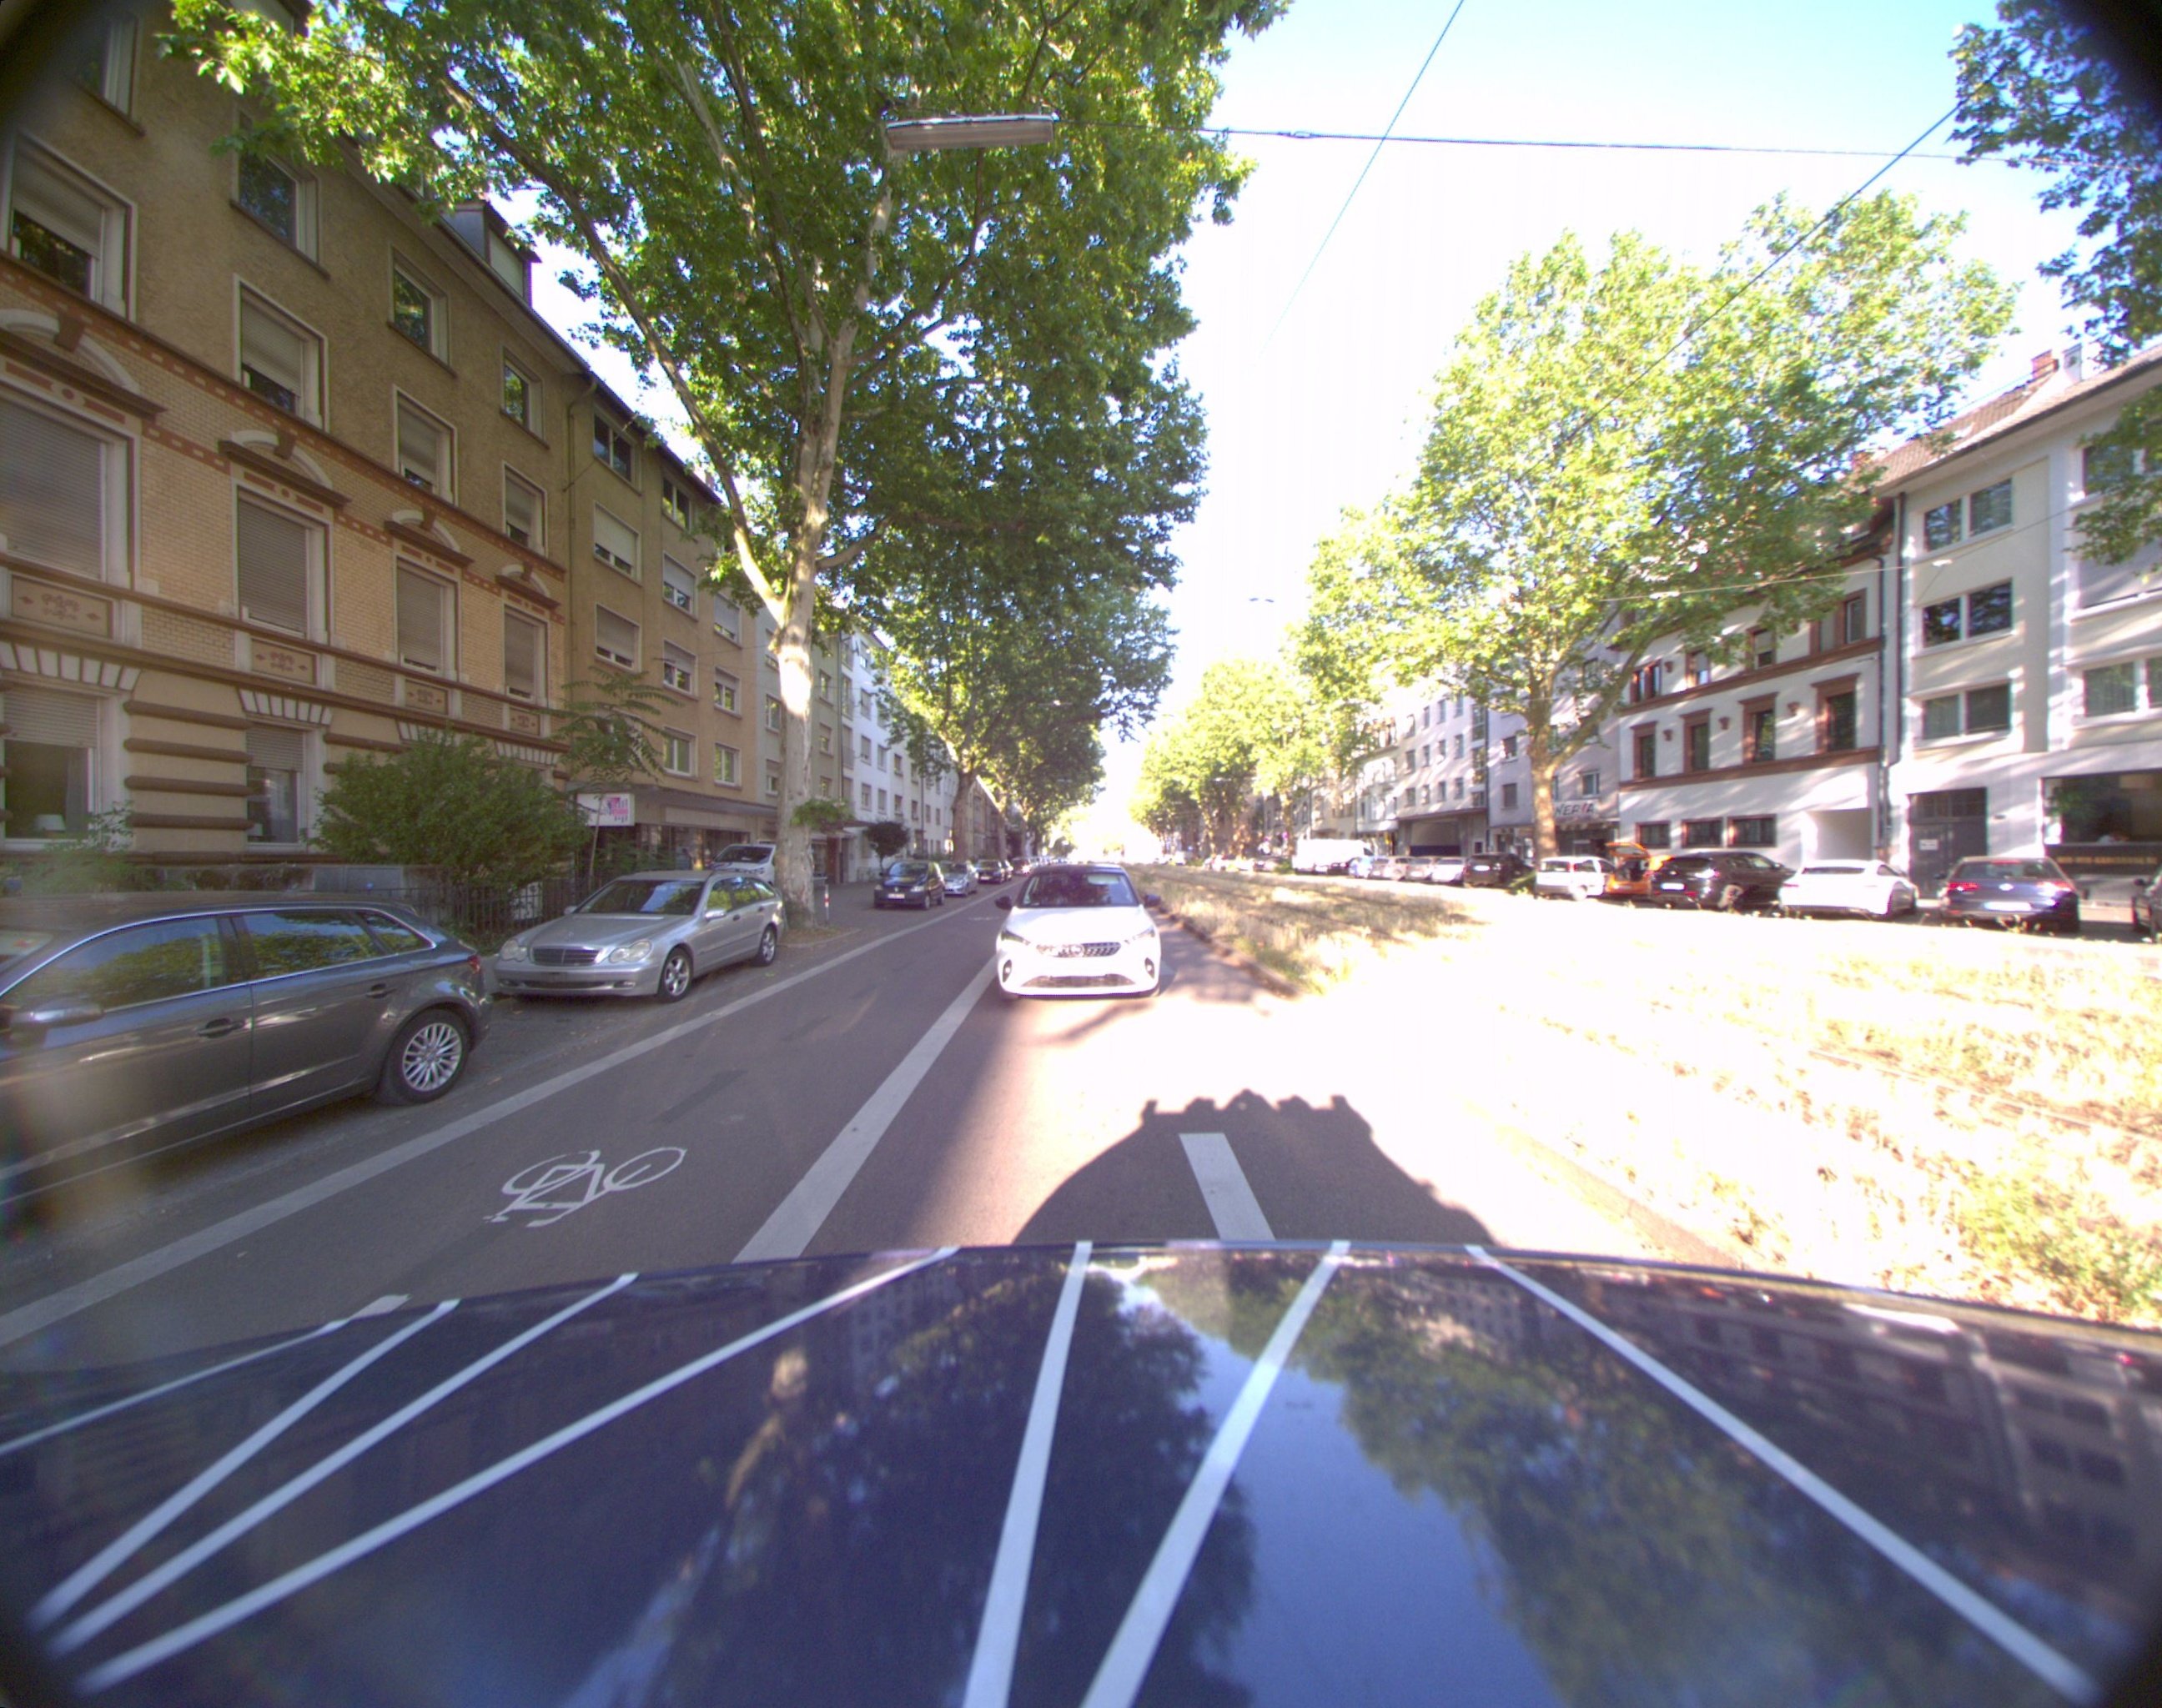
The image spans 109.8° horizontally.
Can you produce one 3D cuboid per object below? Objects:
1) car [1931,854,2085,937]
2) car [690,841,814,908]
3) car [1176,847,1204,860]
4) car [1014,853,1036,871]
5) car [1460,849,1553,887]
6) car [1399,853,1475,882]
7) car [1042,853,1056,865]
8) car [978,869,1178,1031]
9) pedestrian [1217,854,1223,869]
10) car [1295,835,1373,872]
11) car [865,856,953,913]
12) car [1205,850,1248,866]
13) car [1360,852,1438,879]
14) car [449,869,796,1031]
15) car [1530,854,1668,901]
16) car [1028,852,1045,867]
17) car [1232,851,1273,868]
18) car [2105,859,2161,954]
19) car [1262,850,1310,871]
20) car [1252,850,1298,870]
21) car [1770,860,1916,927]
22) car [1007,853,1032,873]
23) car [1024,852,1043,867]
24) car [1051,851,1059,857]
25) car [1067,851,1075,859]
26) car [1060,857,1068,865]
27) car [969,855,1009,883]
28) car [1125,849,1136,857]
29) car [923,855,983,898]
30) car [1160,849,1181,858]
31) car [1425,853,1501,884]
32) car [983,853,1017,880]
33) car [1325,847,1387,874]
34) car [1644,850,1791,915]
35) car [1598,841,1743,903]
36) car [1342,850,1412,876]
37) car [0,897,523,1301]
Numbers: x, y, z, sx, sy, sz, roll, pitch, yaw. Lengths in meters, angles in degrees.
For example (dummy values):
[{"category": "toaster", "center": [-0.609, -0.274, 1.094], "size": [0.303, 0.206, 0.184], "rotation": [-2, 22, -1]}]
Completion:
[{"category": "car", "center": [19.310, 0.771, 15.996], "size": [3.979, 1.495, 1.827], "rotation": [-1, 1, -42]}, {"category": "car", "center": [-10.372, 0.587, 24.381], "size": [1.933, 1.864, 4.677], "rotation": [2, 0, -1]}, {"category": "car", "center": [18.648, -0.039, 129.947], "size": [4.952, 2.200, 2.096], "rotation": [-1, 1, -42]}, {"category": "car", "center": [-5.385, 0.768, 73.336], "size": [1.803, 1.599, 4.104], "rotation": [2, 0, -1]}, {"category": "car", "center": [19.072, 0.573, 34.036], "size": [4.265, 1.605, 1.902], "rotation": [-1, 1, -33]}, {"category": "car", "center": [19.210, 0.705, 40.962], "size": [4.265, 1.449, 1.902], "rotation": [-1, 1, -36]}, {"category": "car", "center": [-4.576, 0.694, 110.098], "size": [1.803, 1.598, 3.702], "rotation": [2, 0, -1]}, {"category": "car", "center": [-0.044, 0.956, 9.206], "size": [1.865, 1.394, 3.931], "rotation": [-2, 0, 0]}, {"category": "pedestrian", "center": [15.095, 0.798, 82.469], "size": [0.620, 1.588, 0.422], "rotation": [0, 1, 1]}, {"category": "car", "center": [19.192, -0.036, 57.588], "size": [5.619, 2.684, 2.176], "rotation": [-1, 1, -24]}, {"category": "car", "center": [-5.405, 0.894, 24.441], "size": [1.803, 1.599, 4.369], "rotation": [2, 0, -1]}, {"category": "car", "center": [15.969, 0.429, 83.584], "size": [4.234, 1.696, 1.999], "rotation": [0, 0, -4]}, {"category": "car", "center": [18.881, 0.660, 45.157], "size": [4.004, 1.509, 1.996], "rotation": [-1, 0, -20]}, {"category": "car", "center": [-5.382, 1.004, 9.787], "size": [1.803, 1.446, 4.511], "rotation": [2, 0, -1]}, {"category": "car", "center": [18.142, 0.782, 26.646], "size": [4.260, 1.548, 1.641], "rotation": [0, 1, -15]}, {"category": "car", "center": [-5.457, 0.692, 92.926], "size": [1.803, 1.742, 4.104], "rotation": [2, 0, -1]}, {"category": "car", "center": [18.385, 0.560, 81.514], "size": [4.005, 1.696, 1.995], "rotation": [-1, 1, -27]}, {"category": "car", "center": [18.991, 0.825, 12.743], "size": [3.979, 1.424, 1.738], "rotation": [-1, -1, -42]}, {"category": "car", "center": [18.831, 0.572, 69.760], "size": [4.005, 1.805, 1.995], "rotation": [-1, 1, -27]}, {"category": "car", "center": [18.653, 0.563, 73.032], "size": [4.005, 1.805, 1.995], "rotation": [-1, 1, -27]}, {"category": "car", "center": [18.508, 0.857, 18.400], "size": [4.266, 1.369, 2.147], "rotation": [-1, 0, -40]}, {"category": "car", "center": [-5.361, 0.782, 66.259], "size": [1.803, 1.599, 4.104], "rotation": [2, 0, -1]}, {"category": "car", "center": [-5.377, 0.662, 86.553], "size": [1.803, 1.599, 4.104], "rotation": [2, 0, -1]}, {"category": "car", "center": [-8.559, 0.096, 250.362], "size": [1.998, 1.850, 4.001], "rotation": [-2, 1, 5]}, {"category": "car", "center": [-2.801, 0.142, 203.852], "size": [1.998, 2.002, 3.999], "rotation": [-2, 1, 0]}, {"category": "car", "center": [-4.999, 2.056, 222.366], "size": [1.998, 2.002, 4.000], "rotation": [-2, 1, 1]}, {"category": "car", "center": [-5.461, 0.851, 45.580], "size": [1.803, 1.494, 4.369], "rotation": [2, 0, -1]}, {"category": "car", "center": [15.497, -0.428, 239.570], "size": [2.963, 2.407, 6.327], "rotation": [-2, 1, 1]}, {"category": "car", "center": [-5.337, 0.900, 32.253], "size": [1.803, 1.599, 4.369], "rotation": [2, 0, -1]}, {"category": "car", "center": [18.080, -0.066, 153.773], "size": [3.994, 1.802, 1.874], "rotation": [0, 1, 10]}, {"category": "car", "center": [18.974, 0.667, 37.684], "size": [4.265, 1.451, 1.598], "rotation": [-1, 1, -36]}, {"category": "car", "center": [-5.386, 0.799, 50.843], "size": [1.803, 1.599, 4.369], "rotation": [2, 0, -1]}, {"category": "car", "center": [19.789, 0.442, 54.723], "size": [4.005, 1.805, 1.995], "rotation": [-1, 1, -27]}, {"category": "car", "center": [18.224, 0.731, 21.730], "size": [4.265, 1.674, 2.147], "rotation": [-1, 1, -34]}, {"category": "car", "center": [19.464, 0.555, 25.124], "size": [4.260, 1.932, 1.514], "rotation": [0, 1, -15]}, {"category": "car", "center": [18.793, 0.545, 48.284], "size": [4.005, 1.608, 1.995], "rotation": [-1, 1, -27]}, {"category": "car", "center": [-5.200, 1.061, 3.621], "size": [1.802, 1.393, 4.370], "rotation": [2, 0, 1]}]
